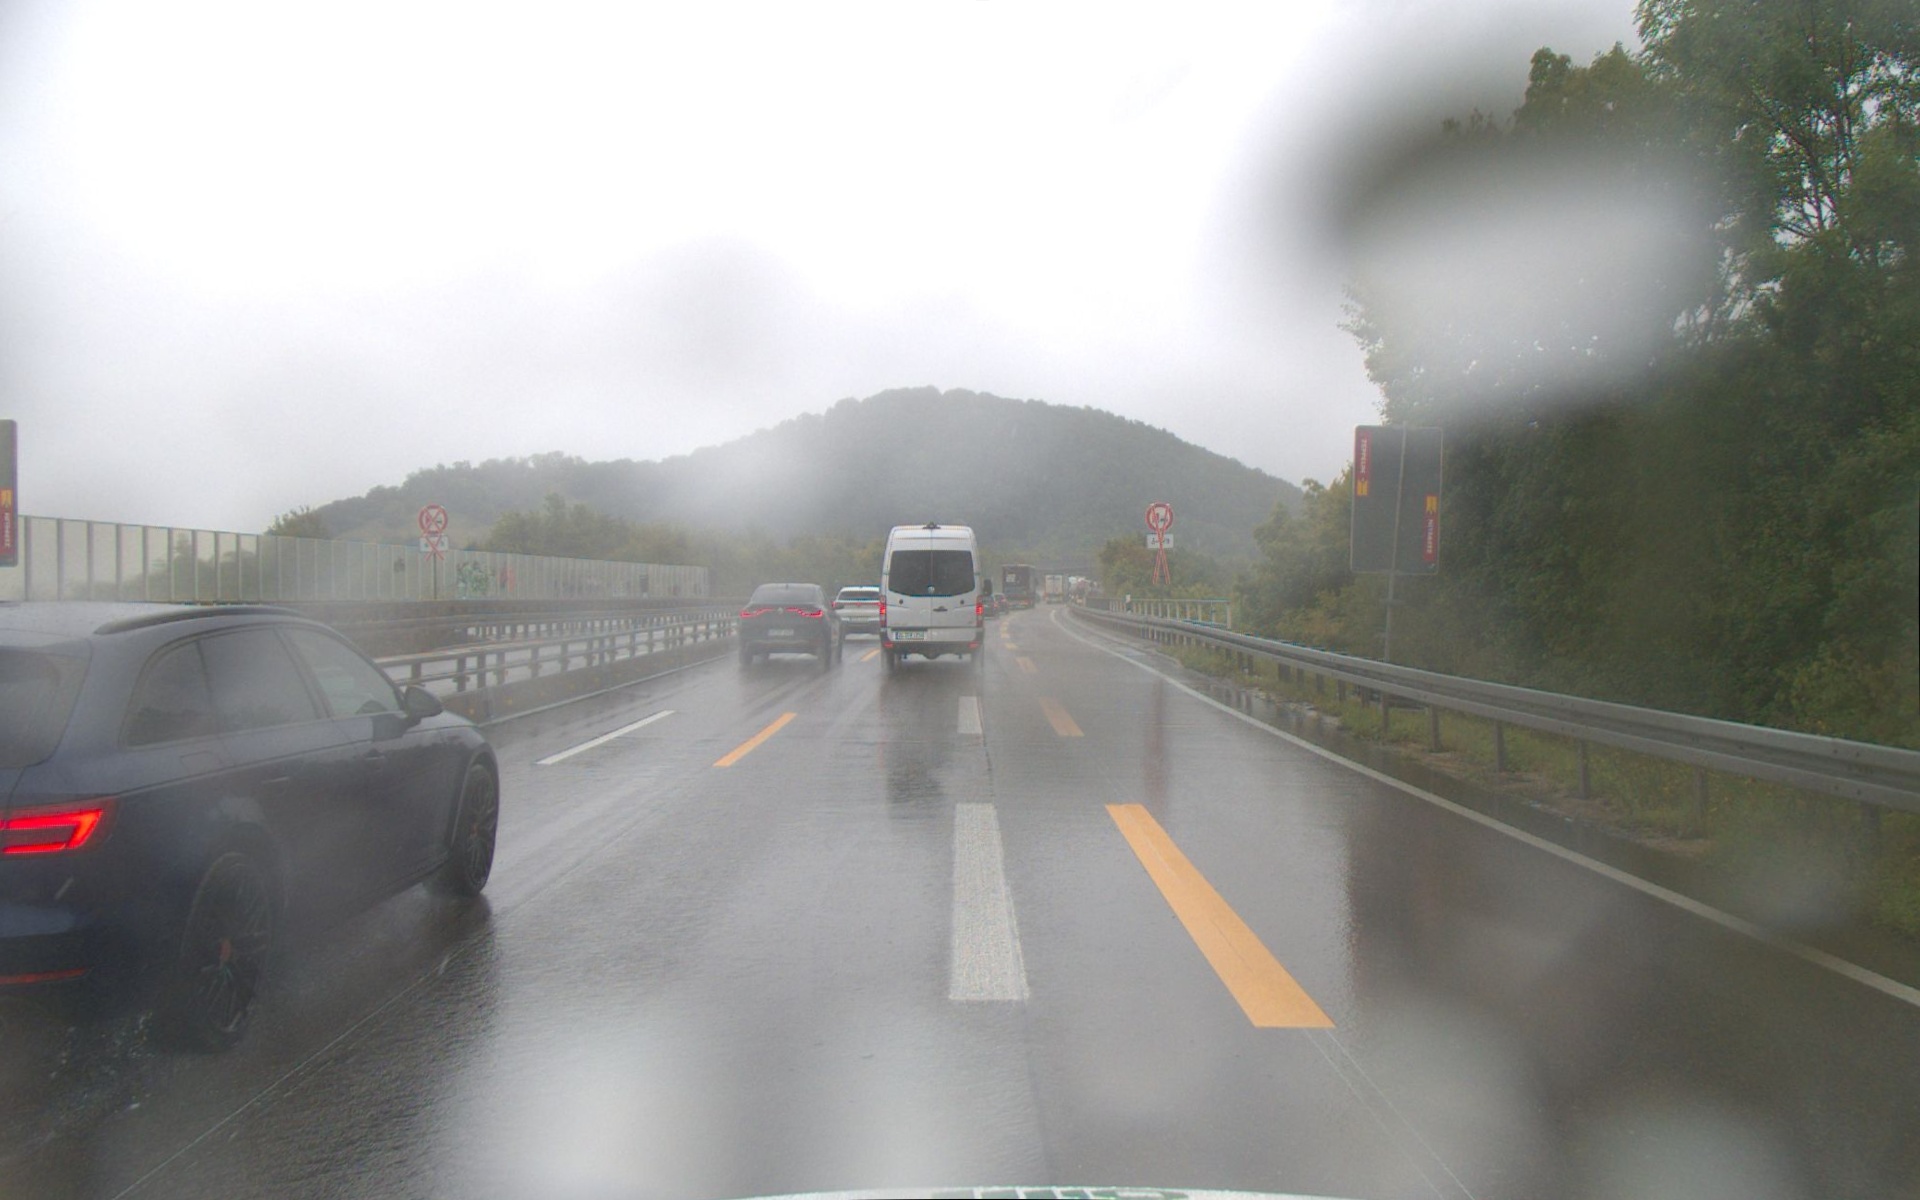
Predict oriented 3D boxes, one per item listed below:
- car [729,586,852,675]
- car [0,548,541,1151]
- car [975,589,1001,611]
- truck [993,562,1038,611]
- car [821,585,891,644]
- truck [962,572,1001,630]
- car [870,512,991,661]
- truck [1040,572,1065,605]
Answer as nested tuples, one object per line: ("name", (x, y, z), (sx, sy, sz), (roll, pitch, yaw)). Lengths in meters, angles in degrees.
("car", (-3.333, 0.583, 33.262), (1.952, 1.613, 4.413), (1, 0, 0))
("car", (-3.204, 0.625, 6.492), (1.953, 1.524, 4.630), (1, 0, -1))
("car", (1.981, 0.003, 115.987), (1.737, 1.501, 4.000), (1, 0, 1))
("truck", (5.328, -1.195, 156.934), (3.505, 4.483, 9.630), (1, 0, 6))
("car", (-3.101, 0.431, 49.866), (1.954, 1.646, 4.793), (1, 0, -3))
("truck", (1.293, 0.086, 96.631), (1.952, 3.163, 8.501), (1, 0, 3))
("car", (-0.520, -0.227, 32.143), (2.101, 2.616, 5.389), (1, 0, 0))
("truck", (13.060, -1.554, 232.677), (2.972, 4.483, 9.630), (1, 0, 5))
